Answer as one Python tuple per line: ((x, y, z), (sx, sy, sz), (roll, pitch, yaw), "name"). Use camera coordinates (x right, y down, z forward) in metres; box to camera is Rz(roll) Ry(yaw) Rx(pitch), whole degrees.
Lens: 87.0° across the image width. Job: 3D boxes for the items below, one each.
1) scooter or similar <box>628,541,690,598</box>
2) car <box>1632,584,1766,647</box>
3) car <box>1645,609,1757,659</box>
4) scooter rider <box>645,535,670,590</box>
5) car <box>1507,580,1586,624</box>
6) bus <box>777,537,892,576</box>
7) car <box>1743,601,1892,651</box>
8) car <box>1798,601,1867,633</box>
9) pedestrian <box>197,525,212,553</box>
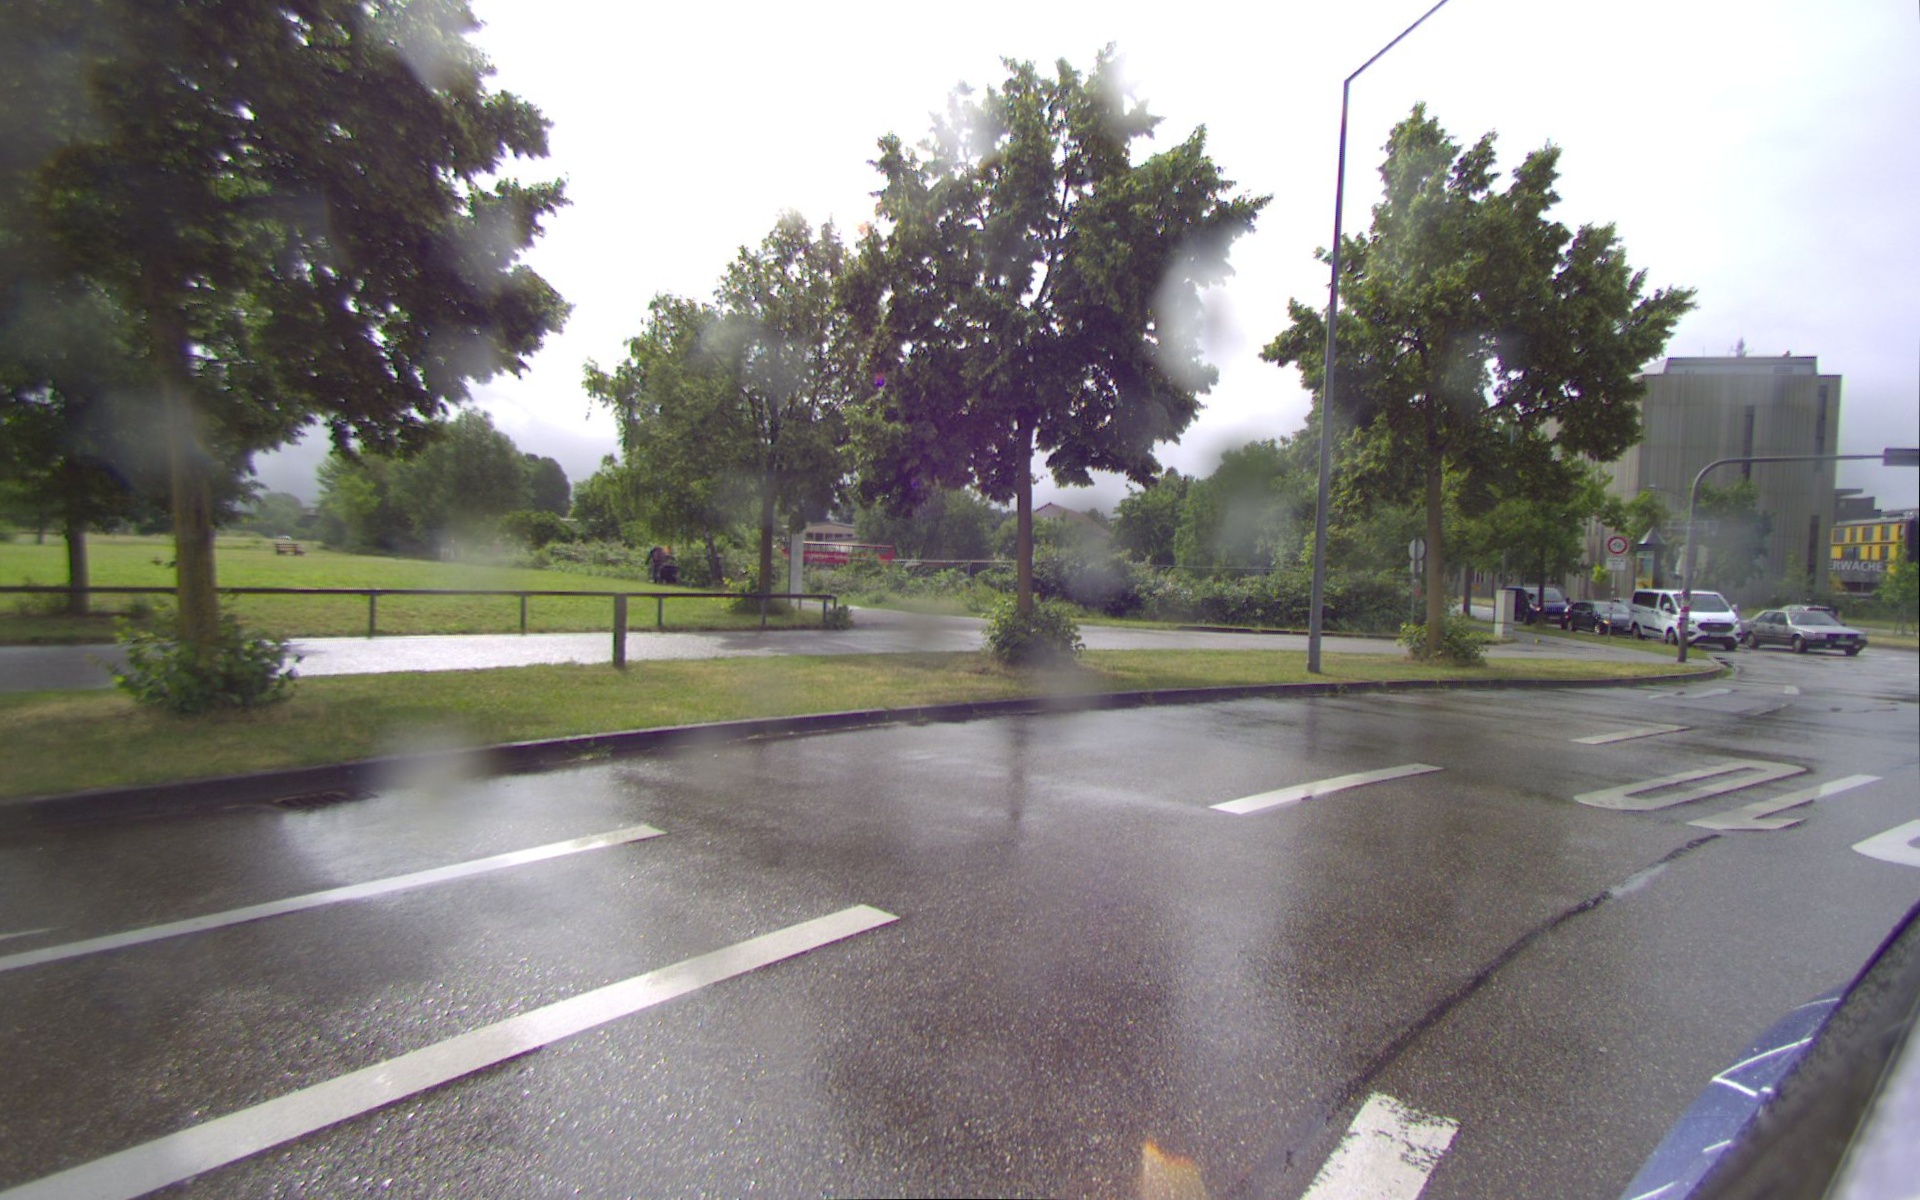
((-11.273, -1.108, 37.802), (1.216, 2.039, 3.410), (1, 0, -34), "scooter or similar")
((26.179, 0.476, 36.091), (2.048, 2.012, 4.780), (3, 1, 13), "car")
((29.715, 1.314, 40.770), (1.839, 1.554, 4.474), (3, 3, 11), "car")
((-11.426, -1.408, 38.221), (0.692, 2.039, 0.771), (1, 0, -31), "scooter rider")
((29.125, 0.060, 50.430), (2.048, 2.012, 4.780), (3, 1, 14), "car")
((-12.049, -4.126, 97.339), (10.788, 3.504, 1.998), (1, 0, 4), "bus")
((28.905, 0.816, 34.326), (1.838, 1.397, 4.537), (1, 2, 11), "car")
((47.959, 0.886, 55.718), (1.792, 1.547, 3.965), (3, 2, 25), "car")
((-46.967, -3.785, 62.917), (0.597, 1.754, 0.596), (1, 0, 41), "pedestrian")
